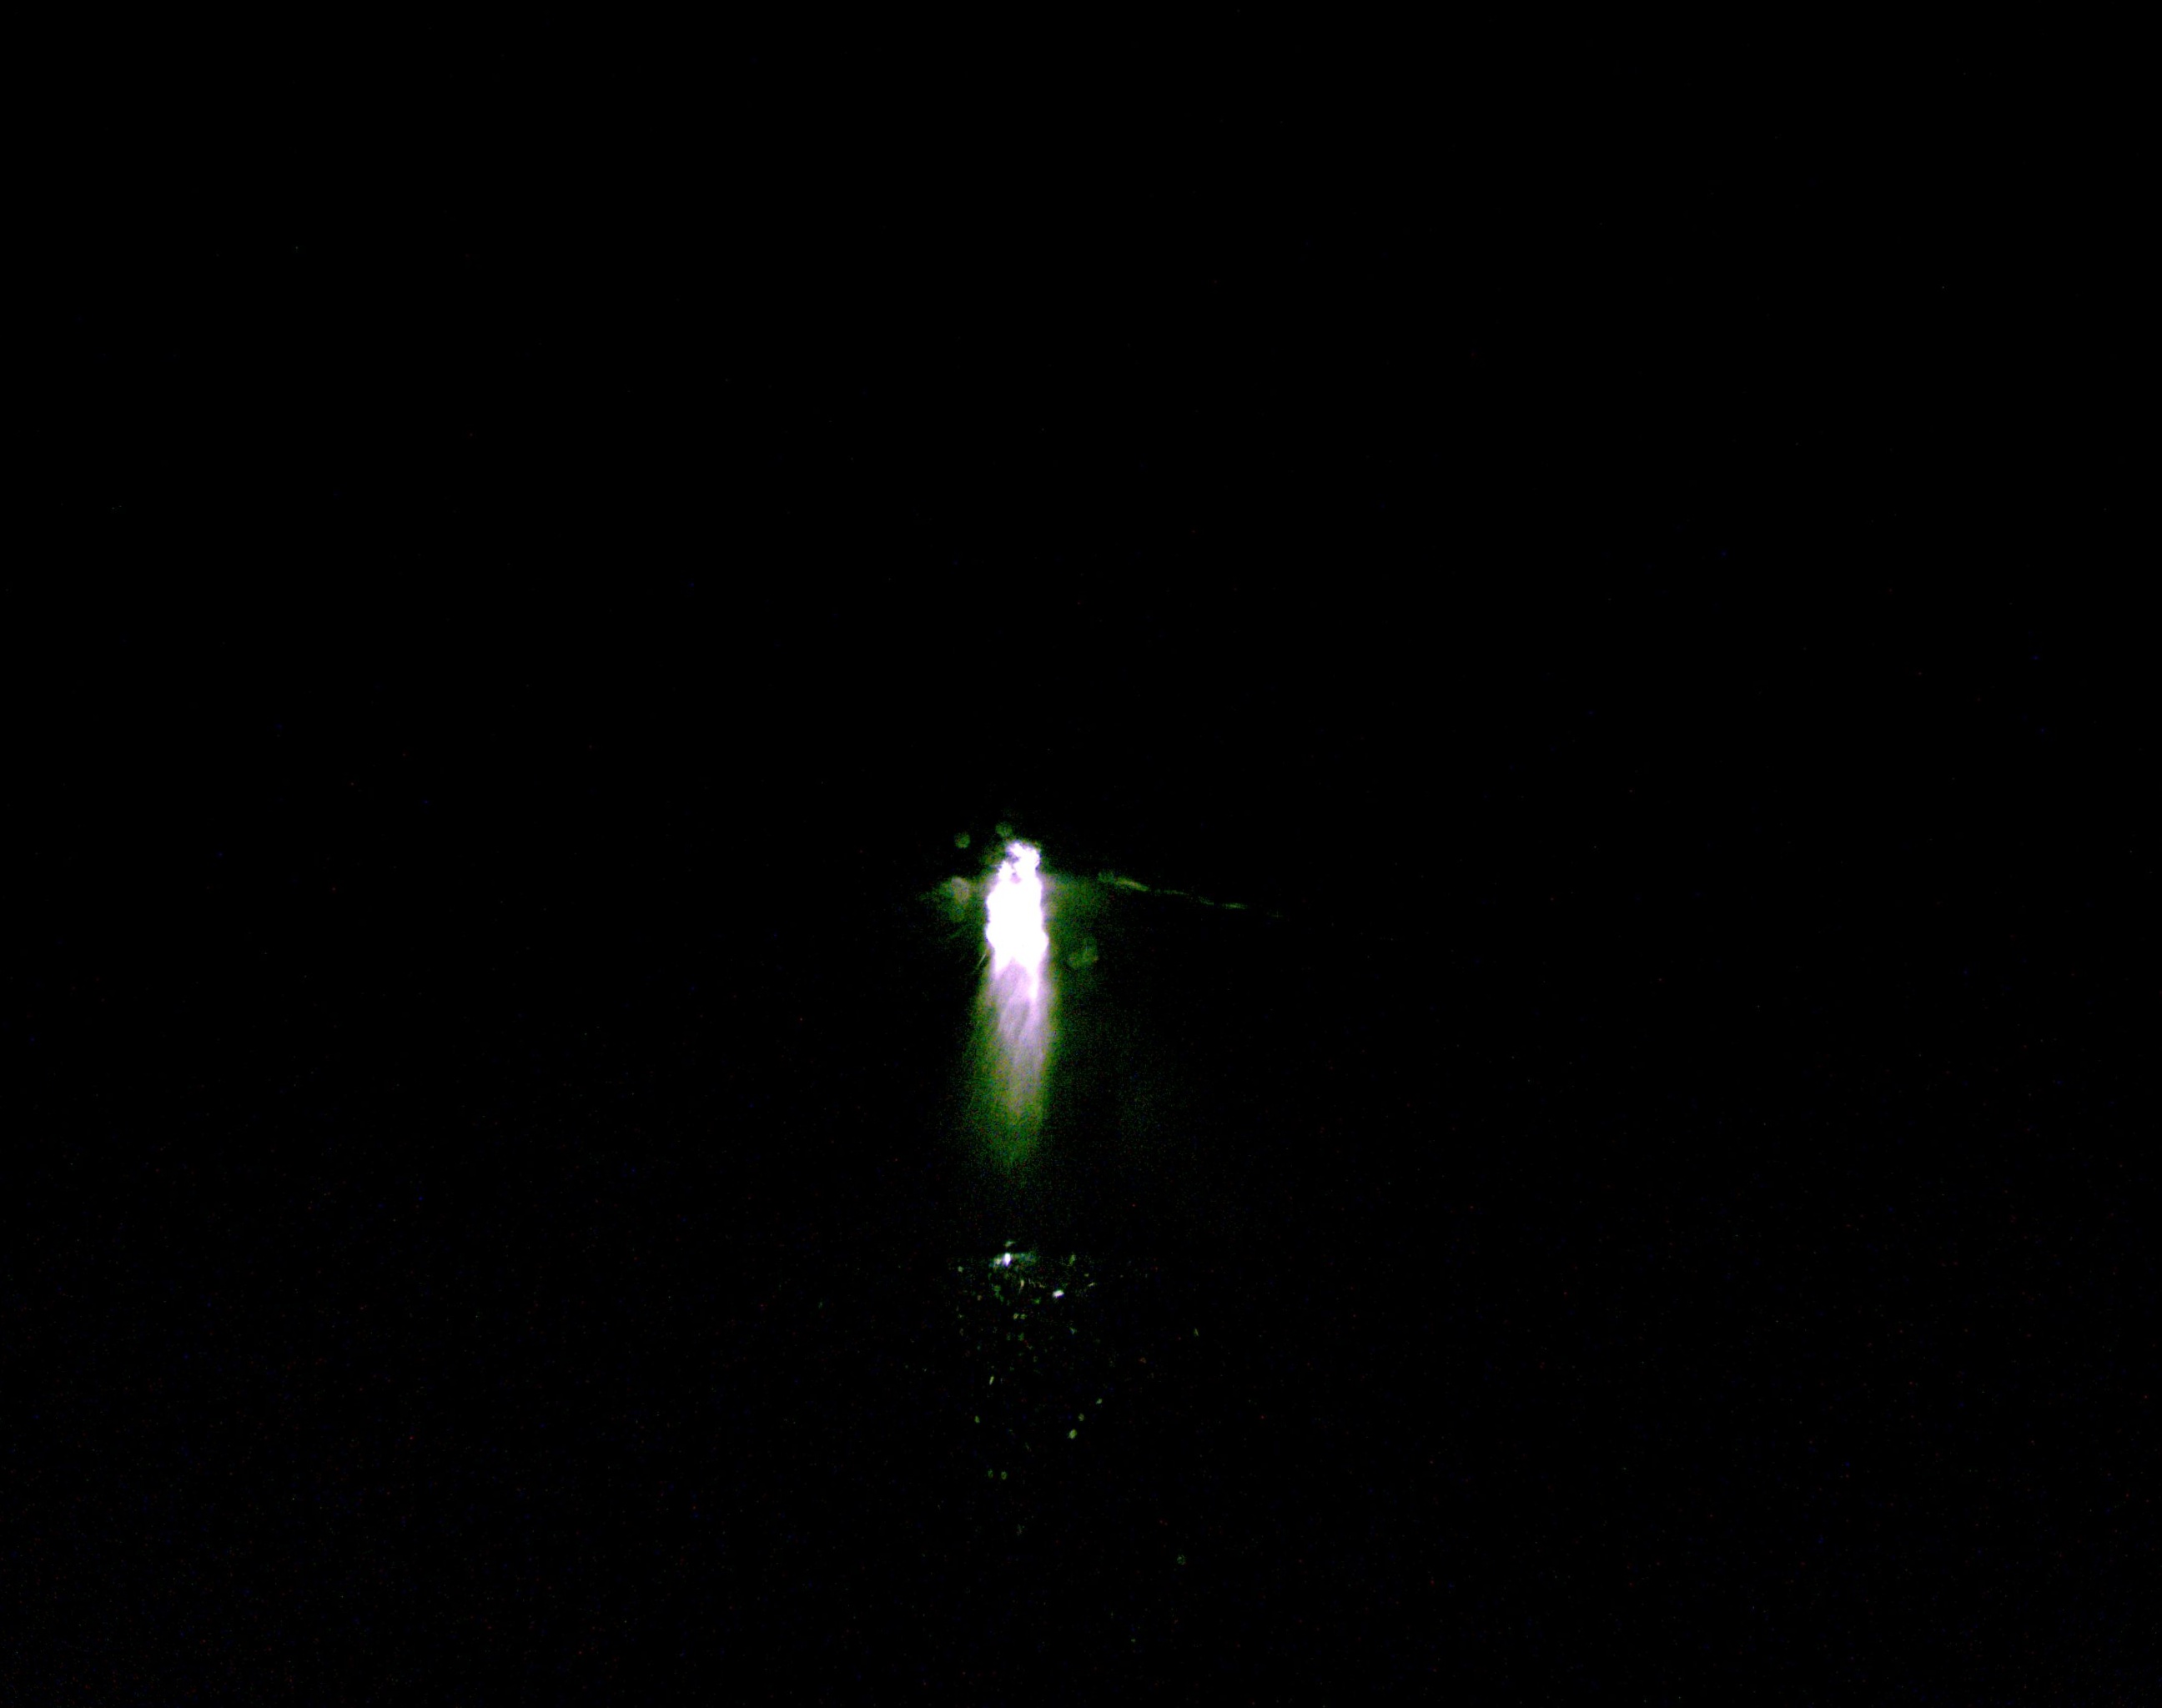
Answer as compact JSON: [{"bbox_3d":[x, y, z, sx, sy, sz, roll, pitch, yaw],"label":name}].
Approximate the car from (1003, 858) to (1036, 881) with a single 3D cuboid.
[{"bbox_3d":[-4.186,1.025,51.186,2.000,1.412,3.997,-1,1,-7],"label":"car"}]
